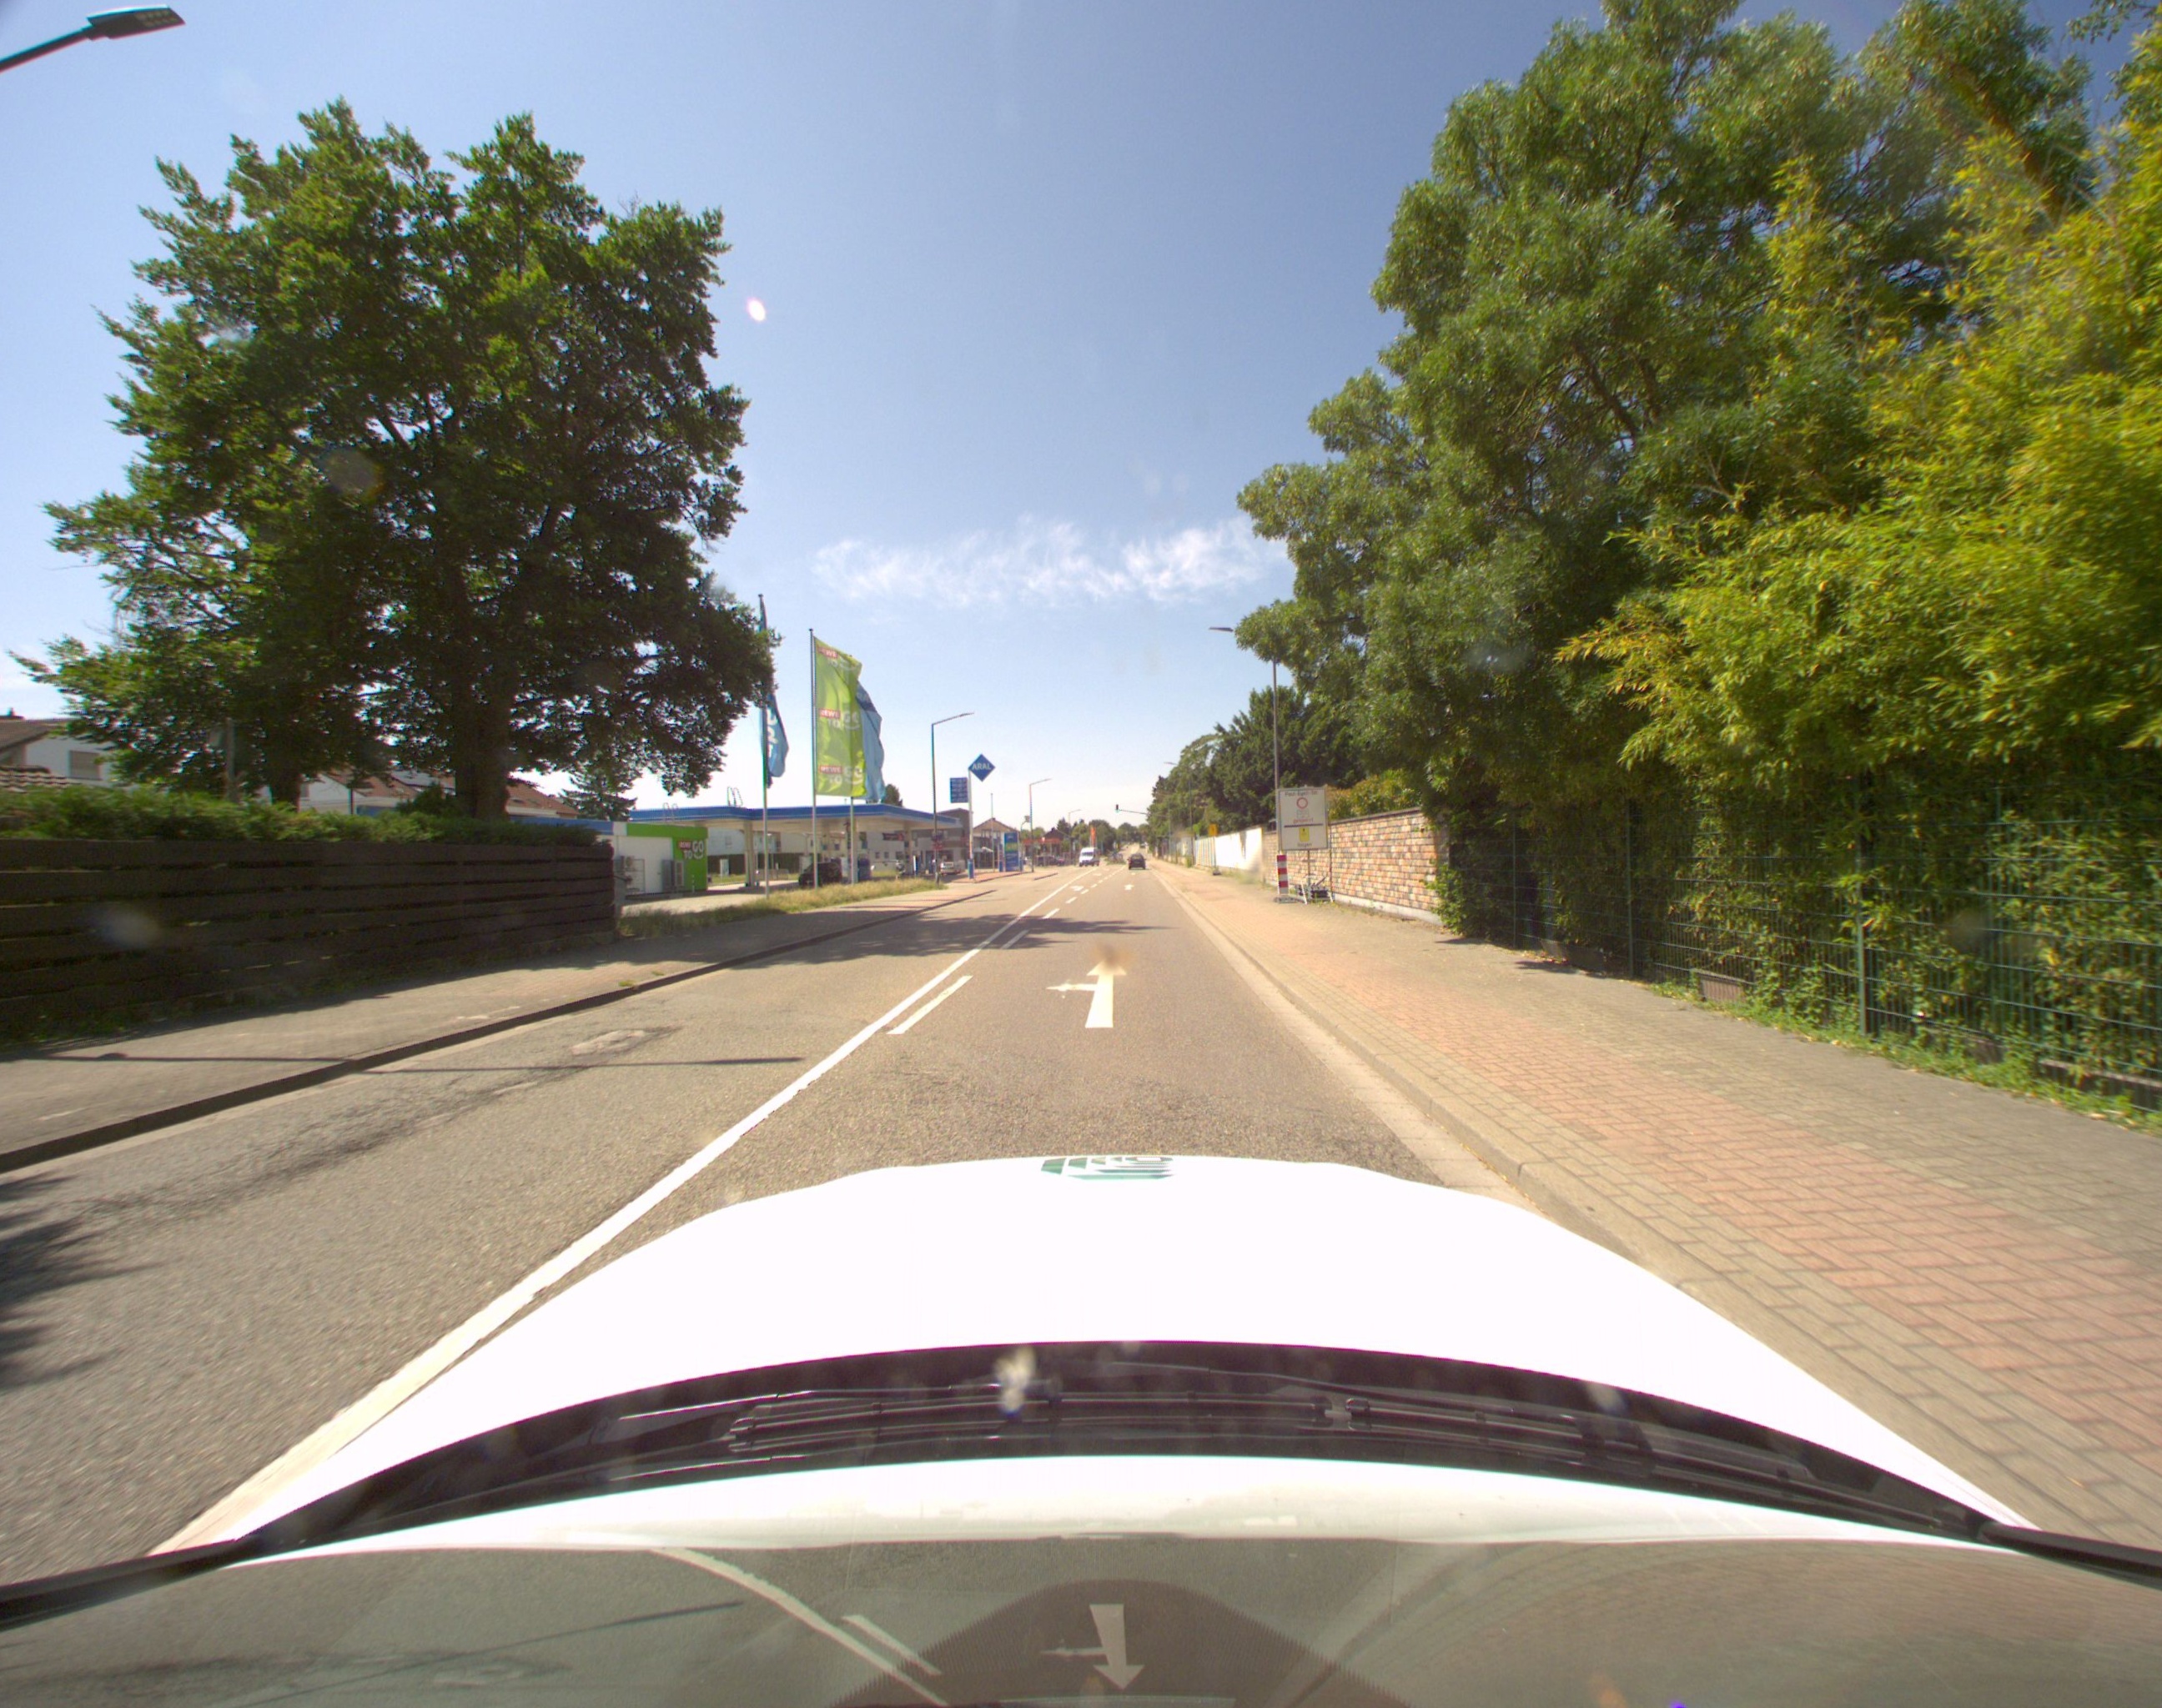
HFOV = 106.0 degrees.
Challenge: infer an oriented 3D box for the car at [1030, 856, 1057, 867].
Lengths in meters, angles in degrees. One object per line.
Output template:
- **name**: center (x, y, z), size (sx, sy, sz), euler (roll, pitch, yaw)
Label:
- **car**: center (-5.593, 1.137, 122.392), size (3.974, 1.508, 1.554), euler (-2, 0, 0)

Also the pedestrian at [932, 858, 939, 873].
- **pedestrian**: center (-16.577, 1.263, 93.038), size (0.613, 1.691, 0.703), euler (-2, 0, -22)

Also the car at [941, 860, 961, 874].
- **car**: center (-14.737, 1.495, 92.183), size (1.612, 1.420, 3.710), euler (-3, 0, -1)

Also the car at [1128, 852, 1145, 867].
- **car**: center (5.435, 0.517, 79.708), size (1.658, 1.455, 3.476), euler (-2, 0, 4)

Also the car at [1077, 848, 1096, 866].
- **car**: center (0.811, 0.506, 114.655), size (1.983, 2.423, 5.958), euler (0, -1, 7)

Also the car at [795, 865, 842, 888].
- **car**: center (-18.027, 1.521, 56.042), size (1.662, 1.381, 4.004), euler (-2, 0, 4)

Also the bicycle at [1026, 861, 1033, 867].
- **bicycle**: center (-7.178, 1.378, 113.610), size (0.610, 0.793, 2.577), euler (-2, 0, 4)
